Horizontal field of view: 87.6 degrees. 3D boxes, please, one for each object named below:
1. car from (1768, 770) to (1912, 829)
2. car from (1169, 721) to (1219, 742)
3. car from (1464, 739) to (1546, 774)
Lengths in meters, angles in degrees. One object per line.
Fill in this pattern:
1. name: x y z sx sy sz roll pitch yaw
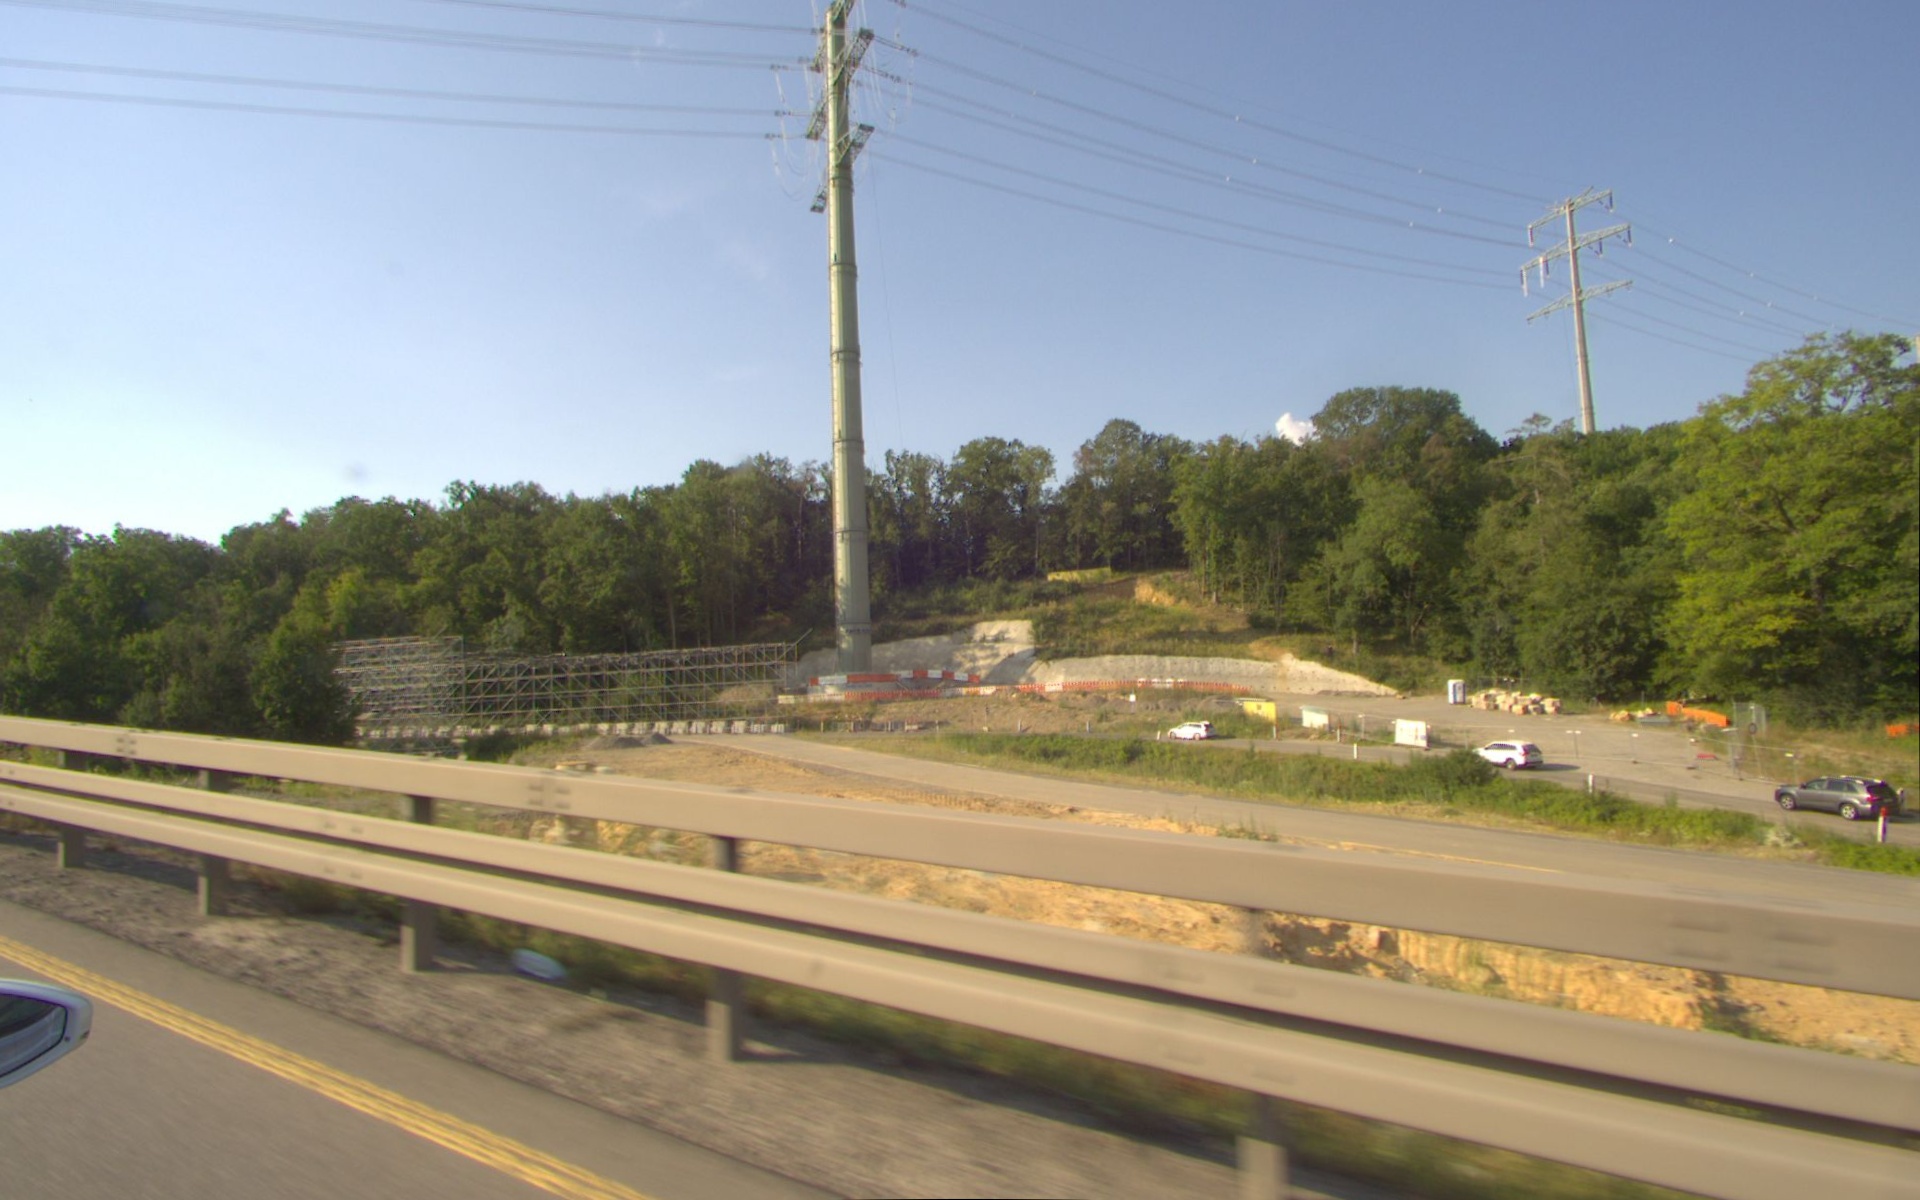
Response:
1. car: 38.911 8.785 44.432 1.836 1.807 4.492 0 -2 -17
2. car: 20.543 11.562 88.204 1.513 1.479 4.235 0 -2 -39
3. car: 34.133 9.776 62.797 1.647 1.682 4.459 2 -4 -23
